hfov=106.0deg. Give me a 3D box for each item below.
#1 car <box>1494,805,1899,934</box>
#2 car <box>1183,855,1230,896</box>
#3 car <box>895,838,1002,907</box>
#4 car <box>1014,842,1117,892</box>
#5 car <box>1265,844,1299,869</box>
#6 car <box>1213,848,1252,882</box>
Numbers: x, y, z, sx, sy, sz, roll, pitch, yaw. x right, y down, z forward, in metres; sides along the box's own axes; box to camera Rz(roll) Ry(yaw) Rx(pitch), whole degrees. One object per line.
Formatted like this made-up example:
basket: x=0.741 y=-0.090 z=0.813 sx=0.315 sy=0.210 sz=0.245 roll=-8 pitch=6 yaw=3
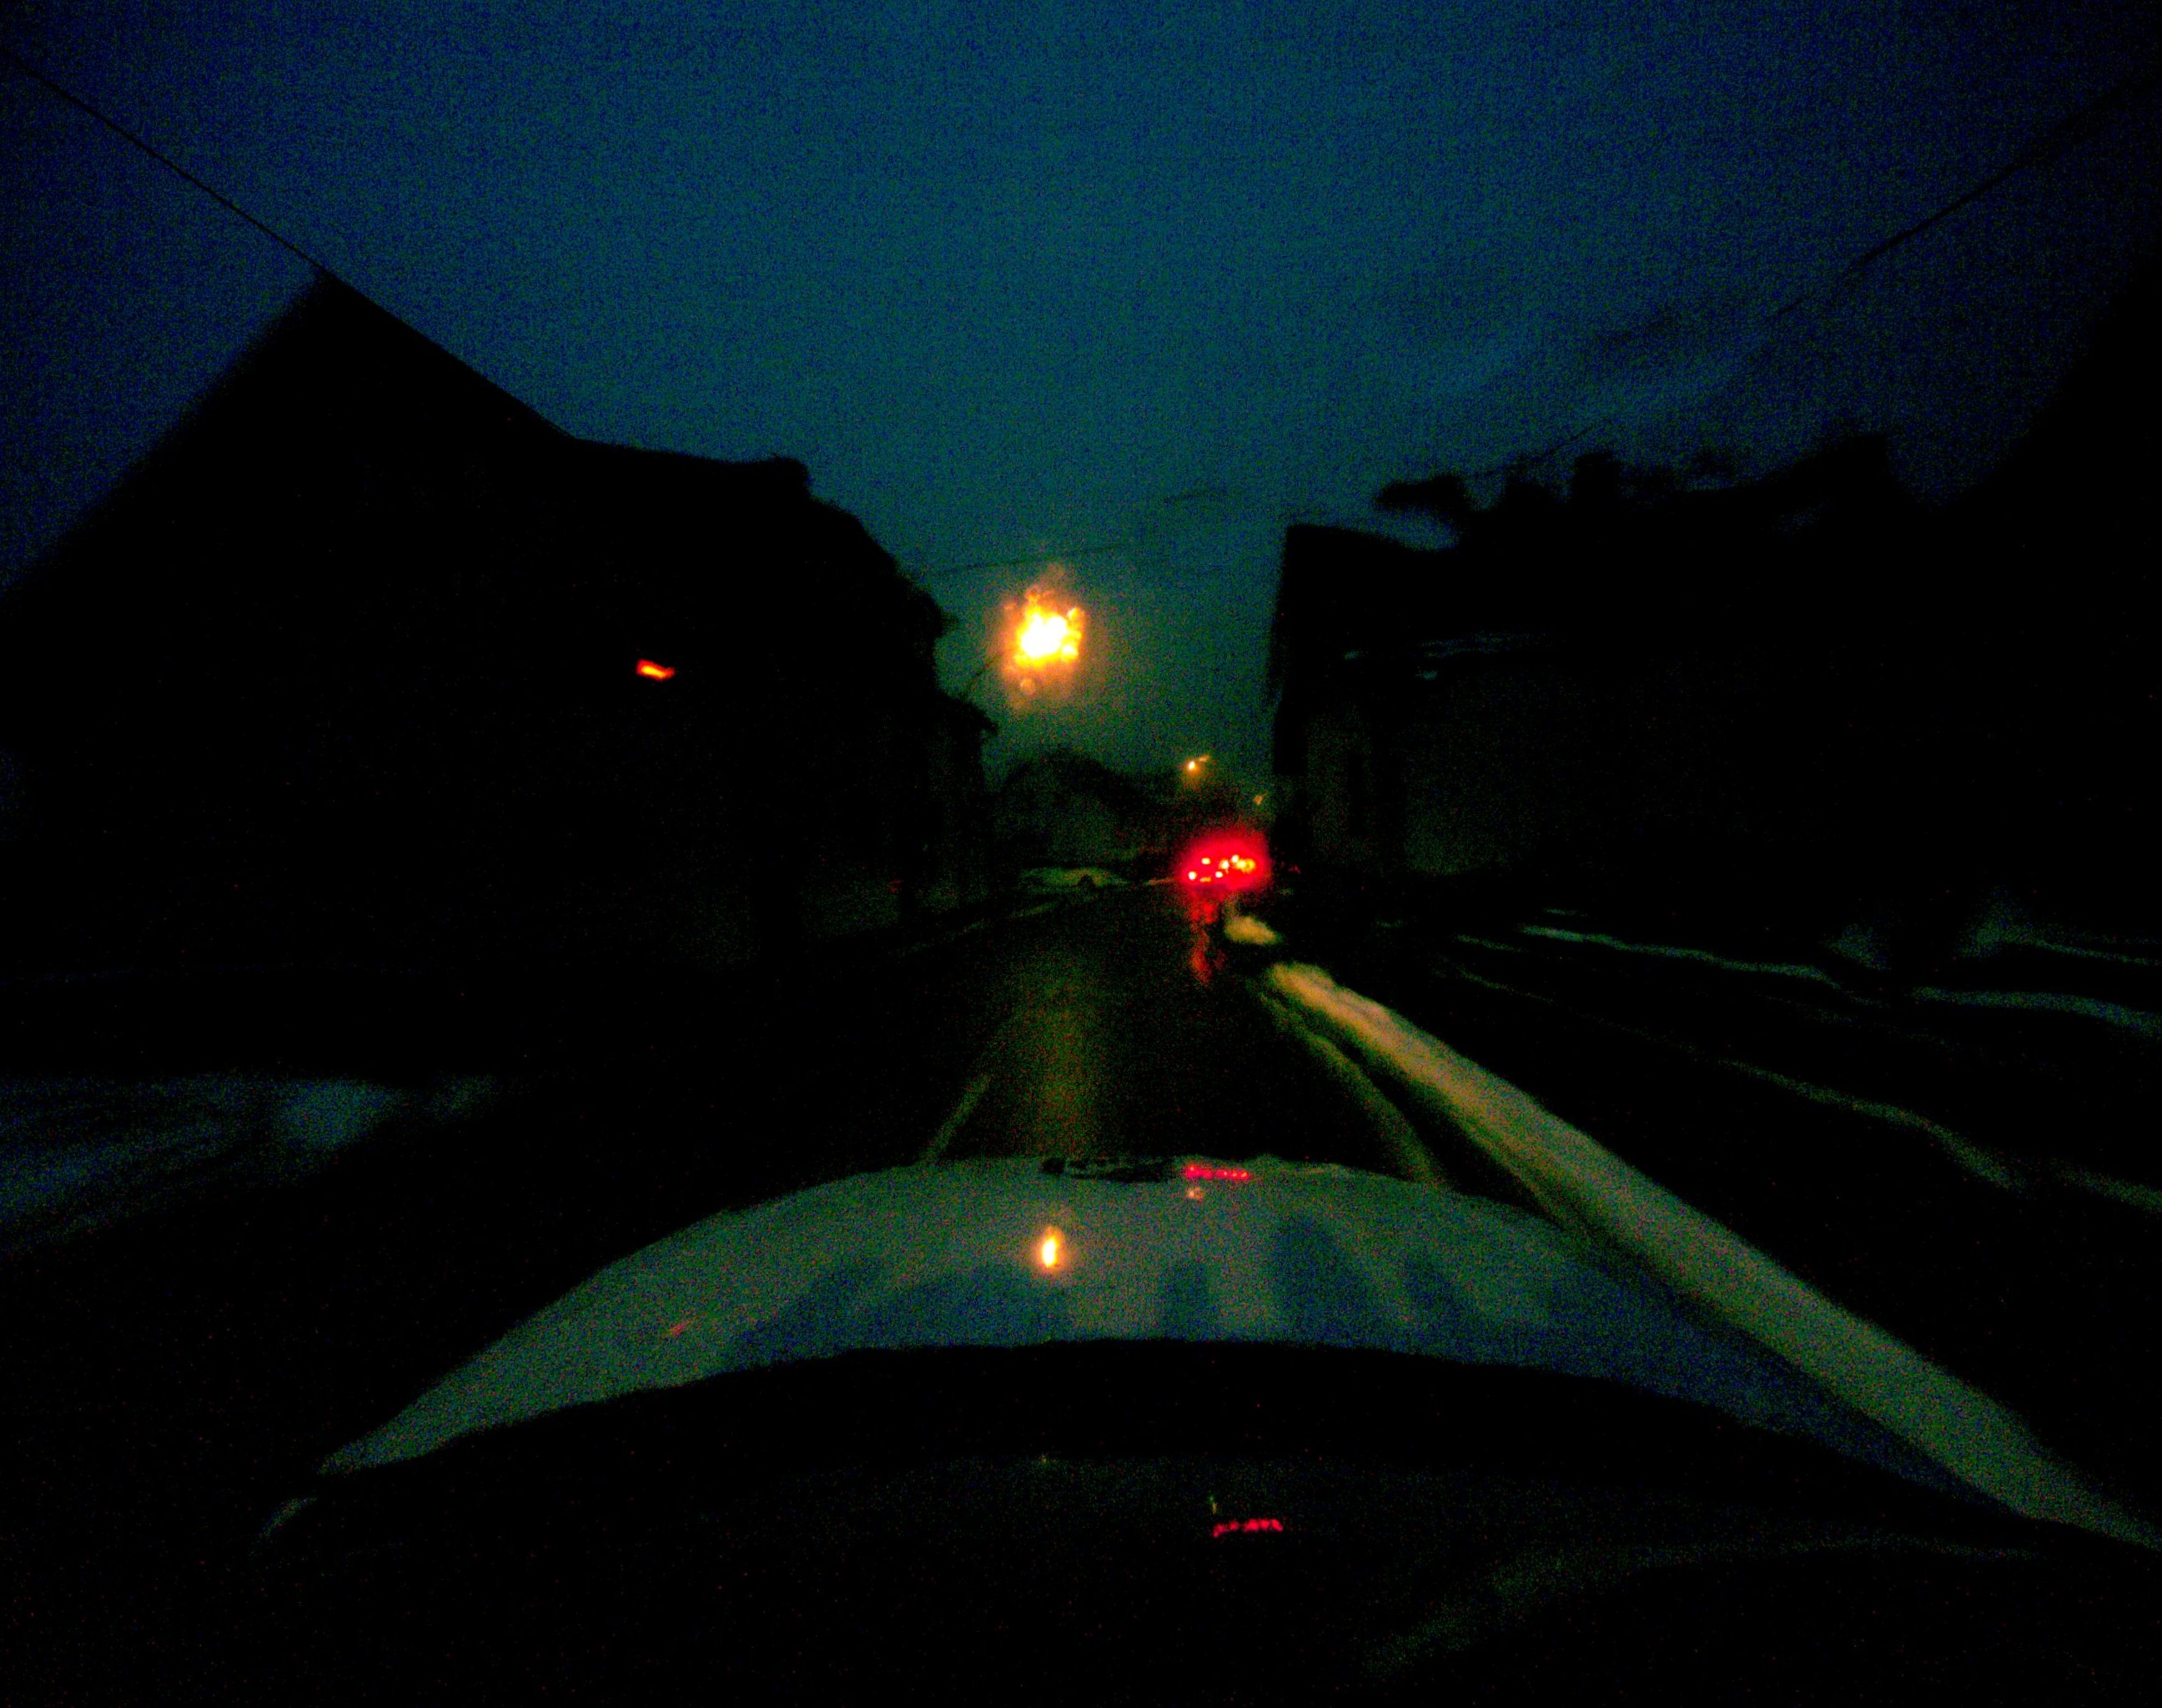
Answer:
car: x=7.829 y=0.157 z=10.674 sx=3.969 sy=1.453 sz=1.717 roll=-2 pitch=3 yaw=3
car: x=6.248 y=1.014 z=40.249 sx=1.980 sy=1.507 sz=4.014 roll=-5 pitch=2 yaw=12
car: x=-5.412 y=0.704 z=33.317 sx=3.990 sy=2.277 sz=1.992 roll=-6 pitch=2 yaw=-12
car: x=-0.778 y=0.667 z=41.470 sx=4.693 sy=2.013 sz=2.011 roll=-5 pitch=2 yaw=20
car: x=17.897 y=0.220 z=72.300 sx=2.232 sy=1.639 sz=4.876 roll=-5 pitch=3 yaw=21
car: x=10.251 y=0.696 z=54.900 sx=1.978 sy=1.837 sz=4.020 roll=-5 pitch=2 yaw=18
